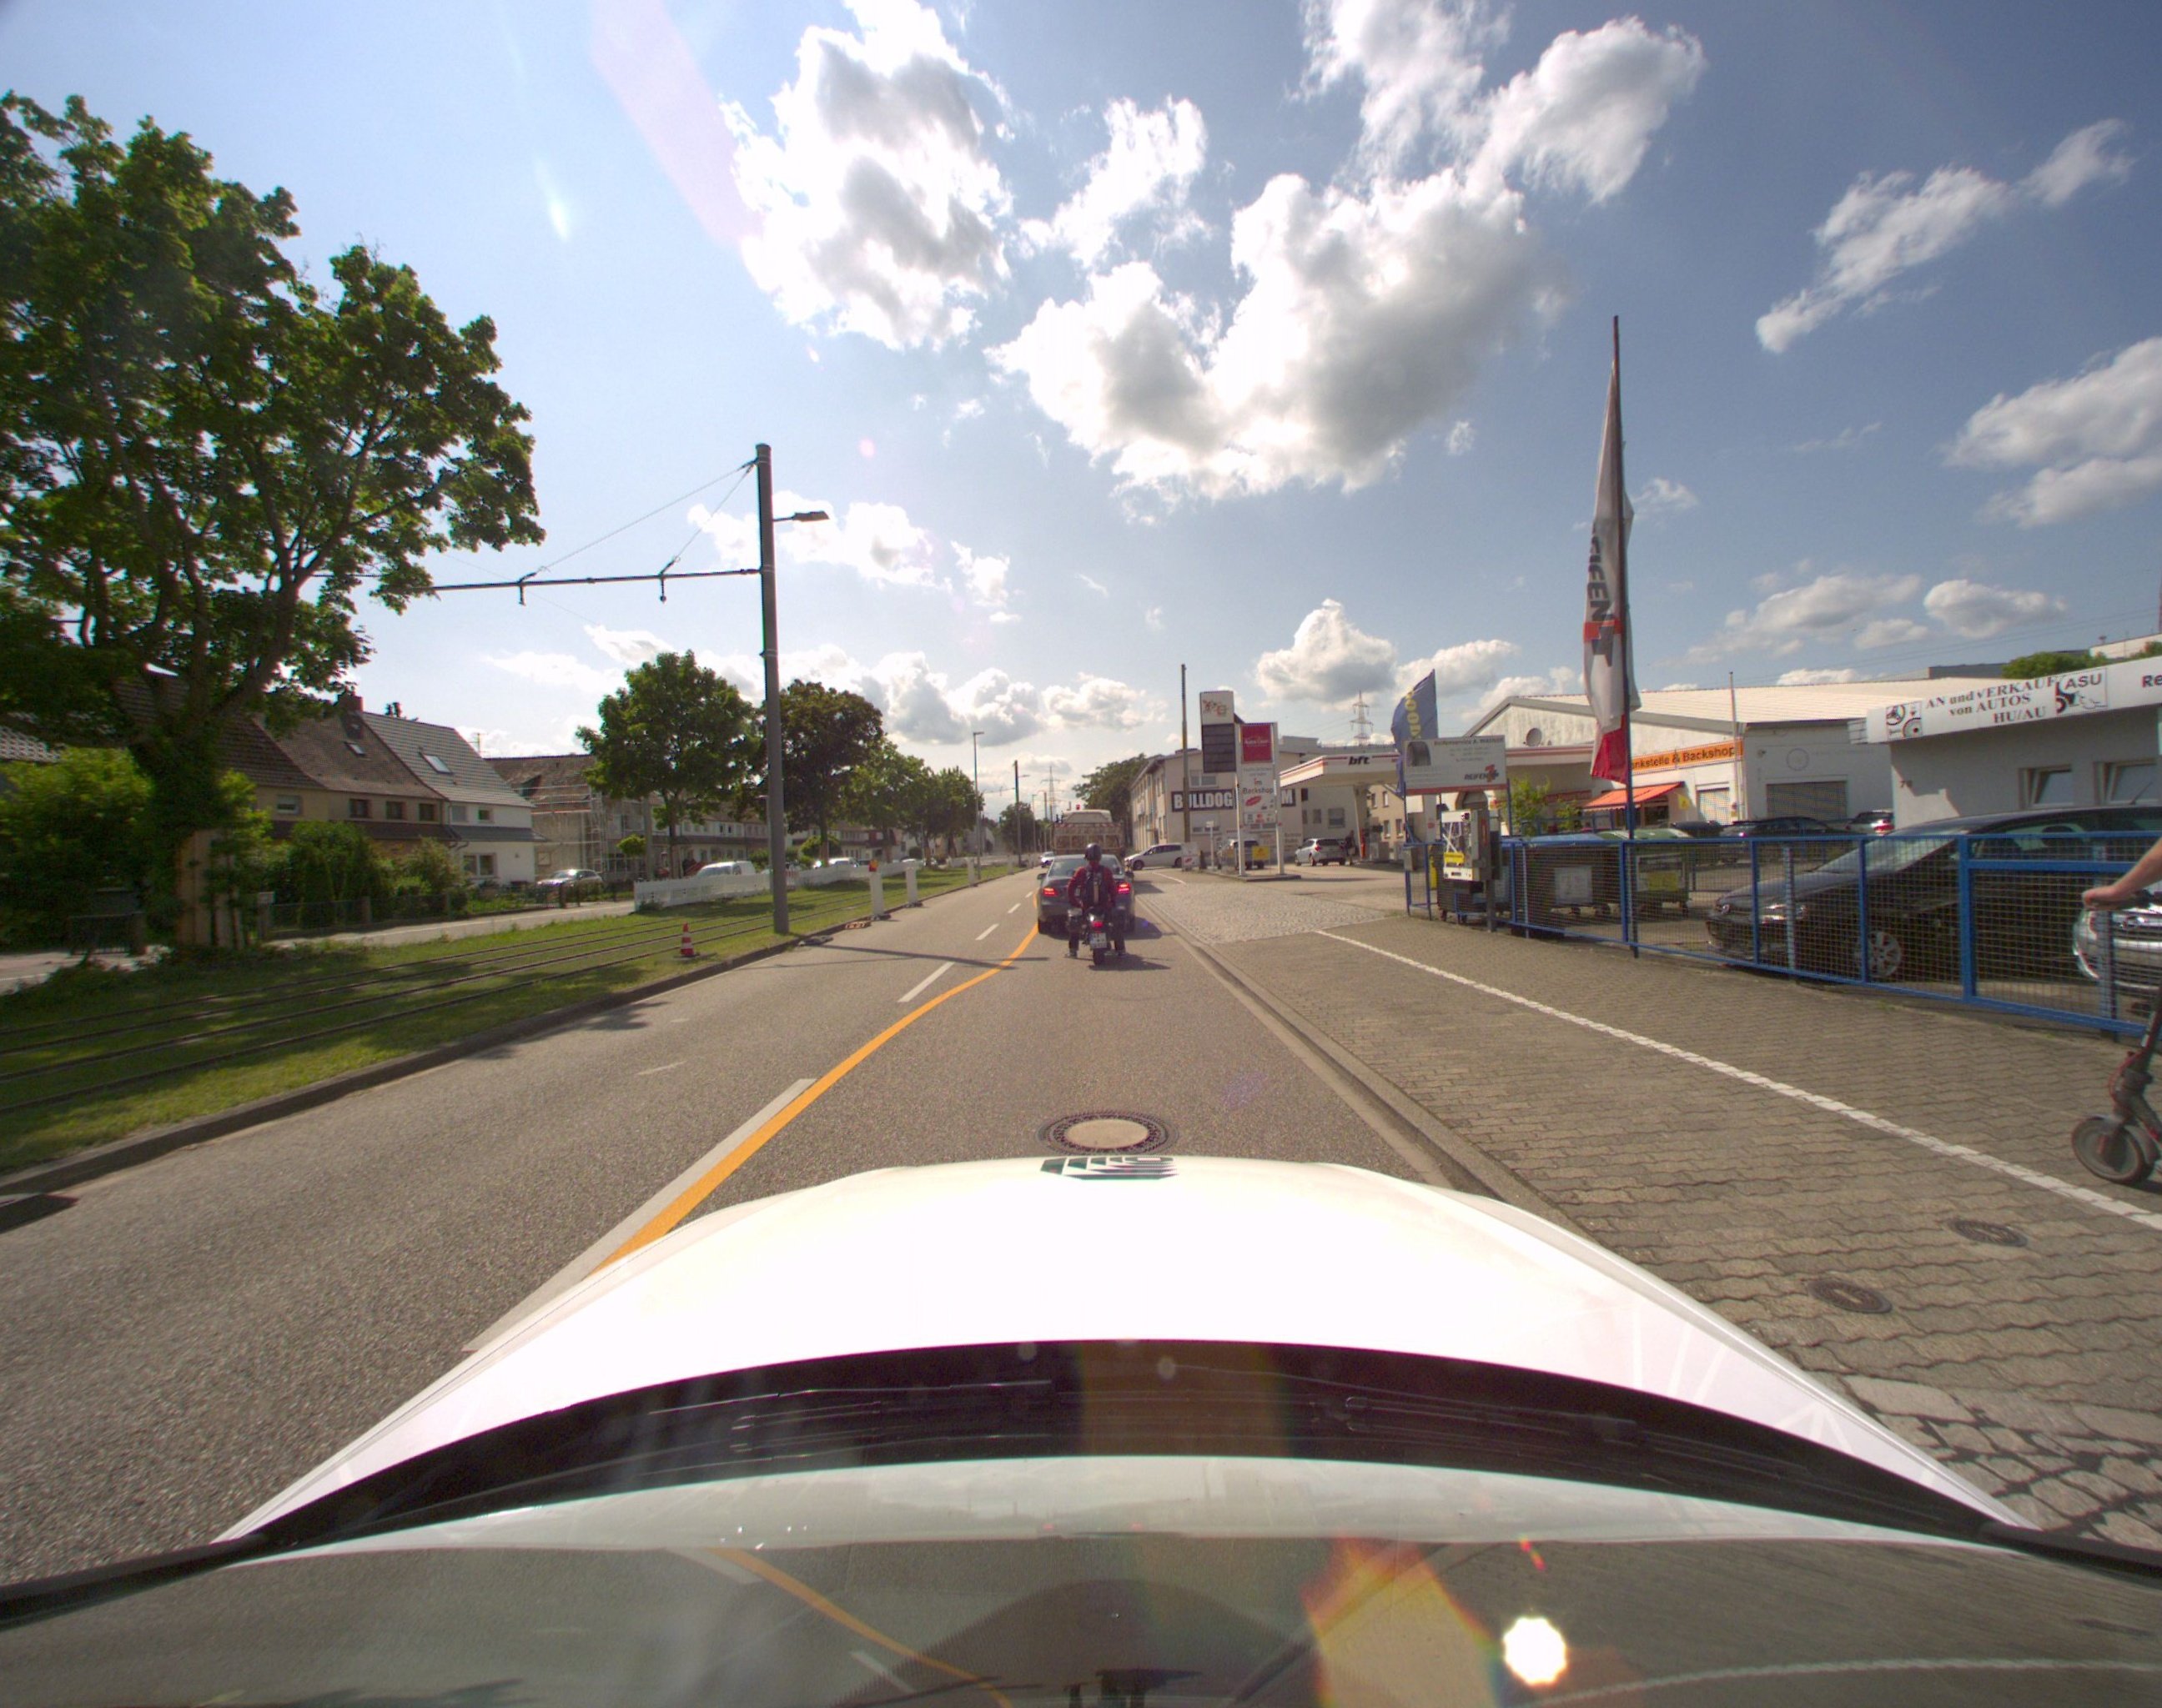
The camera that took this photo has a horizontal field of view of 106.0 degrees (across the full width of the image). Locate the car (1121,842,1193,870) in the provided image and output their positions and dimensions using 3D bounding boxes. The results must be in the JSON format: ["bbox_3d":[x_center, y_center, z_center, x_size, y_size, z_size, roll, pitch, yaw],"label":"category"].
[{"bbox_3d":[4.962,0.164,53.730,4.328,1.551,1.944,-3,0,-8],"label":"car"}]

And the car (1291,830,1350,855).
[{"bbox_3d":[18.637,-0.888,63.467,3.975,1.648,1.965,-3,0,-1],"label":"car"}]

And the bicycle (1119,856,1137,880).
[{"bbox_3d":[2.793,0.811,48.700,0.691,1.361,2.415,-3,0,-3],"label":"bicycle"}]

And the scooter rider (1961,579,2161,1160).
[{"bbox_3d":[3.991,0.041,2.902,0.715,1.963,0.785,-5,0,0],"label":"scooter rider"}]

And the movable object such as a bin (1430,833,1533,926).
[{"bbox_3d":[6.710,0.424,13.704,1.252,1.444,0.824,-3,0,0],"label":"movable object such as a bin"}]

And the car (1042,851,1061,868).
[{"bbox_3d":[-2.807,0.473,77.502,1.650,1.447,4.300,-3,1,-1],"label":"car"}]

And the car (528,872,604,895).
[{"bbox_3d":[-28.086,1.573,44.585,1.680,1.052,3.977,-3,0,-2],"label":"car"}]

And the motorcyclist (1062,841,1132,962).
[{"bbox_3d":[0.220,0.640,11.599,0.936,1.615,1.205,-1,0,0],"label":"motorcyclist"}]

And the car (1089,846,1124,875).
[{"bbox_3d":[1.420,0.325,45.453,1.815,1.464,4.001,-2,0,1],"label":"car"}]

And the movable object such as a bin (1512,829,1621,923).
[{"bbox_3d":[8.080,0.355,13.598,1.252,1.444,0.824,-3,0,0],"label":"movable object such as a bin"}]

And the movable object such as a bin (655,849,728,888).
[{"bbox_3d":[-27.118,1.008,56.861,4.353,2.449,1.776,-3,0,-22],"label":"movable object such as a bin"}]

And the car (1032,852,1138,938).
[{"bbox_3d":[0.086,0.719,16.254,1.815,1.424,4.000,-2,0,0],"label":"car"}]

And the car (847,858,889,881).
[{"bbox_3d":[-16.103,1.155,61.664,1.987,1.606,4.000,-3,0,0],"label":"car"}]

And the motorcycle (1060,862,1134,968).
[{"bbox_3d":[0.220,0.793,11.780,0.936,1.320,2.645,-1,0,0],"label":"motorcycle"}]

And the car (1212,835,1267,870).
[{"bbox_3d":[8.336,-0.046,43.070,1.954,1.648,3.997,-3,0,-2],"label":"car"}]

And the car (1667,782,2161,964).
[{"bbox_3d":[8.152,0.171,7.623,3.955,1.442,1.718,-3,0,17],"label":"car"}]

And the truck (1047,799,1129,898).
[{"bbox_3d":[0.331,-0.301,32.590,2.601,3.255,9.185,-3,1,1],"label":"truck"}]

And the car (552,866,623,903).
[{"bbox_3d":[-25.088,1.518,41.502,1.679,1.721,3.030,-3,0,0],"label":"car"}]

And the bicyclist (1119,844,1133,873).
[{"bbox_3d":[2.687,0.264,48.656,0.669,1.744,0.813,-3,0,0],"label":"bicyclist"}]

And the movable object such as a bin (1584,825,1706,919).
[{"bbox_3d":[9.402,0.287,13.628,1.319,1.444,0.952,-3,0,-7],"label":"movable object such as a bin"}]

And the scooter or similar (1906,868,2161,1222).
[{"bbox_3d":[4.018,0.677,2.852,0.539,1.195,1.611,-4,0,0],"label":"scooter or similar"}]

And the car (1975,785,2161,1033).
[{"bbox_3d":[8.517,0.231,4.837,3.957,1.496,1.758,-3,0,15],"label":"car"}]

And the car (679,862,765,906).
[{"bbox_3d":[-16.091,1.314,36.788,1.987,1.750,4.000,-3,0,0],"label":"car"}]

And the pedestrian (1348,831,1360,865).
[{"bbox_3d":[14.083,-0.315,42.026,0.395,1.689,0.485,-3,-1,1],"label":"pedestrian"}]

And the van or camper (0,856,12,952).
[{"bbox_3d":[-32.775,1.323,21.130,6.079,2.639,2.697,1,0,-4],"label":"van or camper"}]

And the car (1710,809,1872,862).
[{"bbox_3d":[21.565,-0.532,24.831,3.484,1.360,1.612,-3,0,0],"label":"car"}]

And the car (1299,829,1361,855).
[{"bbox_3d":[18.619,-0.902,60.921,3.975,1.648,1.965,-3,0,-1],"label":"car"}]

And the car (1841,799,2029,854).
[{"bbox_3d":[26.137,-0.823,25.018,3.994,1.388,1.612,-3,0,1],"label":"car"}]

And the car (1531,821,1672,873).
[{"bbox_3d":[16.146,-0.200,25.388,3.309,1.360,1.612,-3,0,0],"label":"car"}]

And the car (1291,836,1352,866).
[{"bbox_3d":[12.841,-0.152,43.800,1.954,1.420,3.997,-3,0,-2],"label":"car"}]
